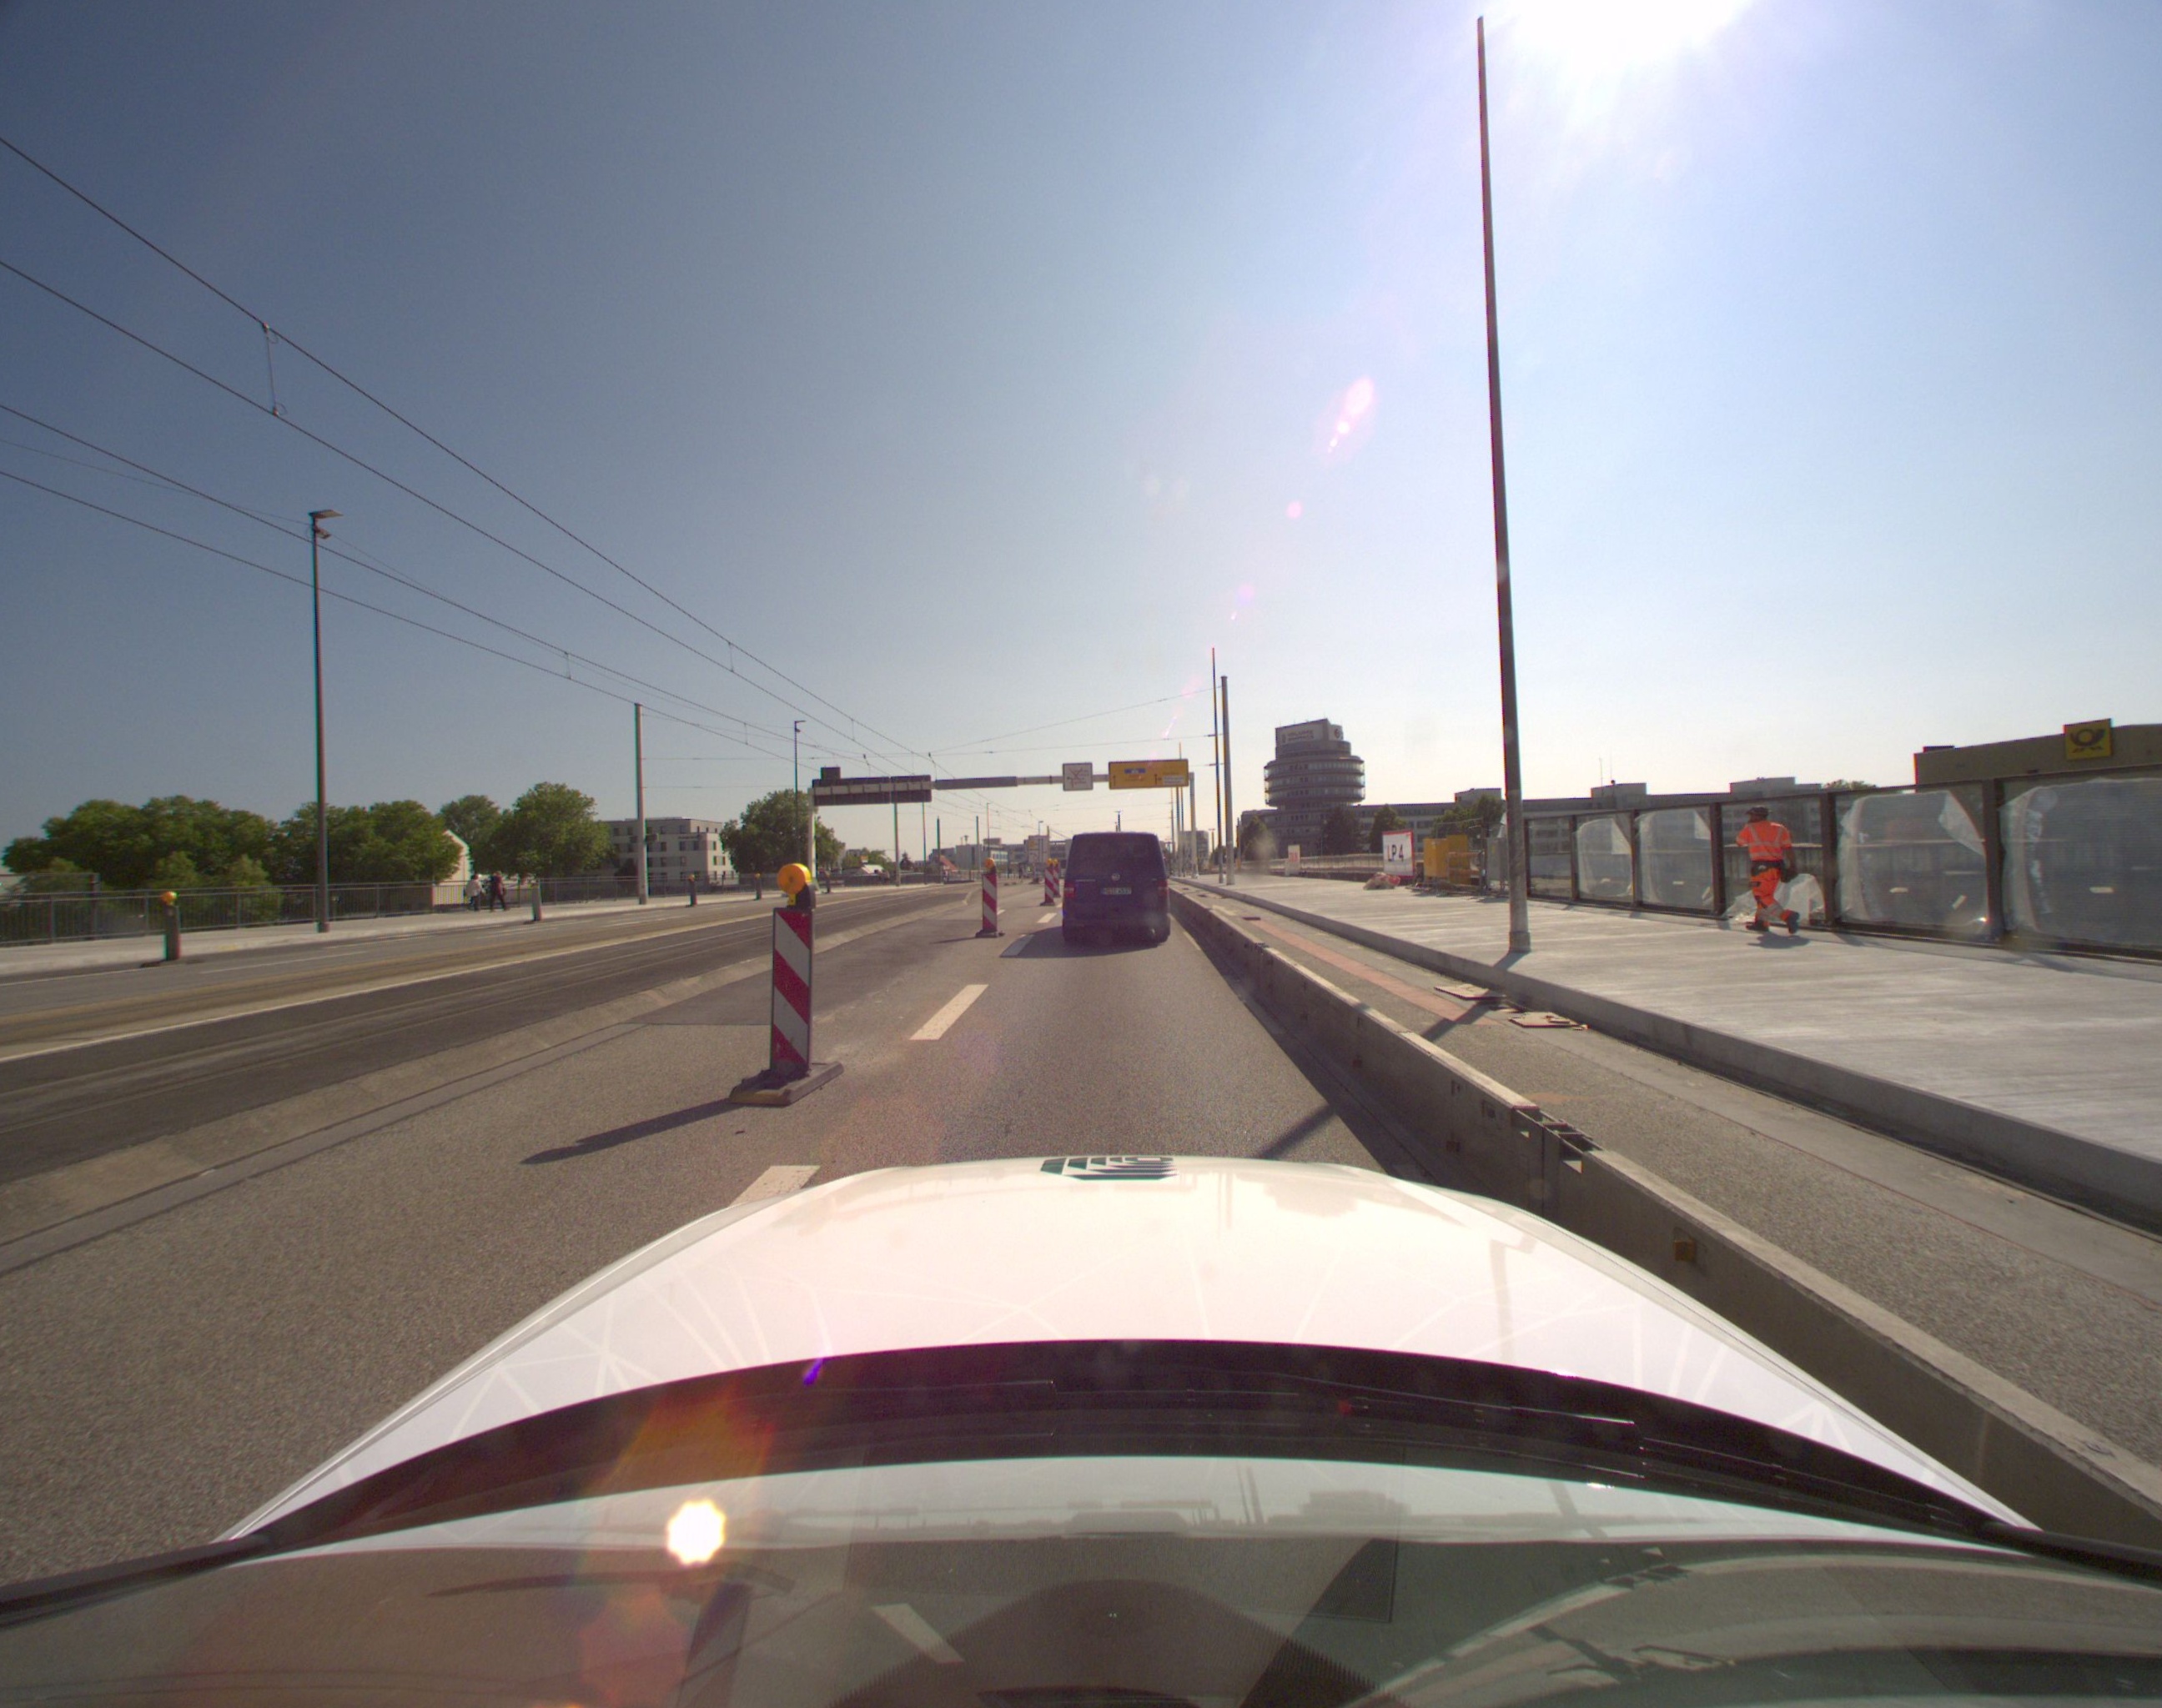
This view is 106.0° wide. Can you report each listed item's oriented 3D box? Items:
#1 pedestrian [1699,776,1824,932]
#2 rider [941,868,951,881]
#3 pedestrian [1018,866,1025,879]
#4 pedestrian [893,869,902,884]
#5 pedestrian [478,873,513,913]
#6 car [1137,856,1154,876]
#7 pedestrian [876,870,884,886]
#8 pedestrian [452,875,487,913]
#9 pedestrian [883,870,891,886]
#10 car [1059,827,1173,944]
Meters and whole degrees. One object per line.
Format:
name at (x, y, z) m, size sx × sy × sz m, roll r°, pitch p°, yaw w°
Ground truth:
pedestrian at (9.103, 0.003, 10.947) m, size 0.728 × 1.965 × 1.017 m, roll -3°, pitch -1°, yaw 2°
rider at (-17.978, 2.720, 108.475) m, size 0.760 × 1.733 × 2.952 m, roll -1°, pitch -1°, yaw 2°
pedestrian at (-7.742, 2.426, 105.829) m, size 0.655 × 1.654 × 0.742 m, roll -2°, pitch -1°, yaw 16°
pedestrian at (-20.524, 2.522, 90.897) m, size 0.749 × 1.687 × 0.733 m, roll -2°, pitch -1°, yaw 5°
pedestrian at (-24.247, 1.600, 33.748) m, size 0.741 × 1.642 × 0.895 m, roll 0°, pitch -1°, yaw 2°
car at (9.672, 1.746, 122.080) m, size 2.329 × 2.887 × 5.975 m, roll -1°, pitch -1°, yaw 3°
pedestrian at (-21.762, 2.633, 88.061) m, size 0.594 × 1.687 × 0.819 m, roll -2°, pitch -1°, yaw 5°
pedestrian at (-25.235, 1.636, 33.619) m, size 0.717 × 1.544 × 0.889 m, roll 0°, pitch -1°, yaw 2°
pedestrian at (-21.077, 2.601, 88.528) m, size 0.483 × 1.687 × 0.809 m, roll -2°, pitch -1°, yaw 6°
car at (0.651, 0.555, 15.521) m, size 1.881 × 1.934 × 4.002 m, roll 0°, pitch -1°, yaw 2°
